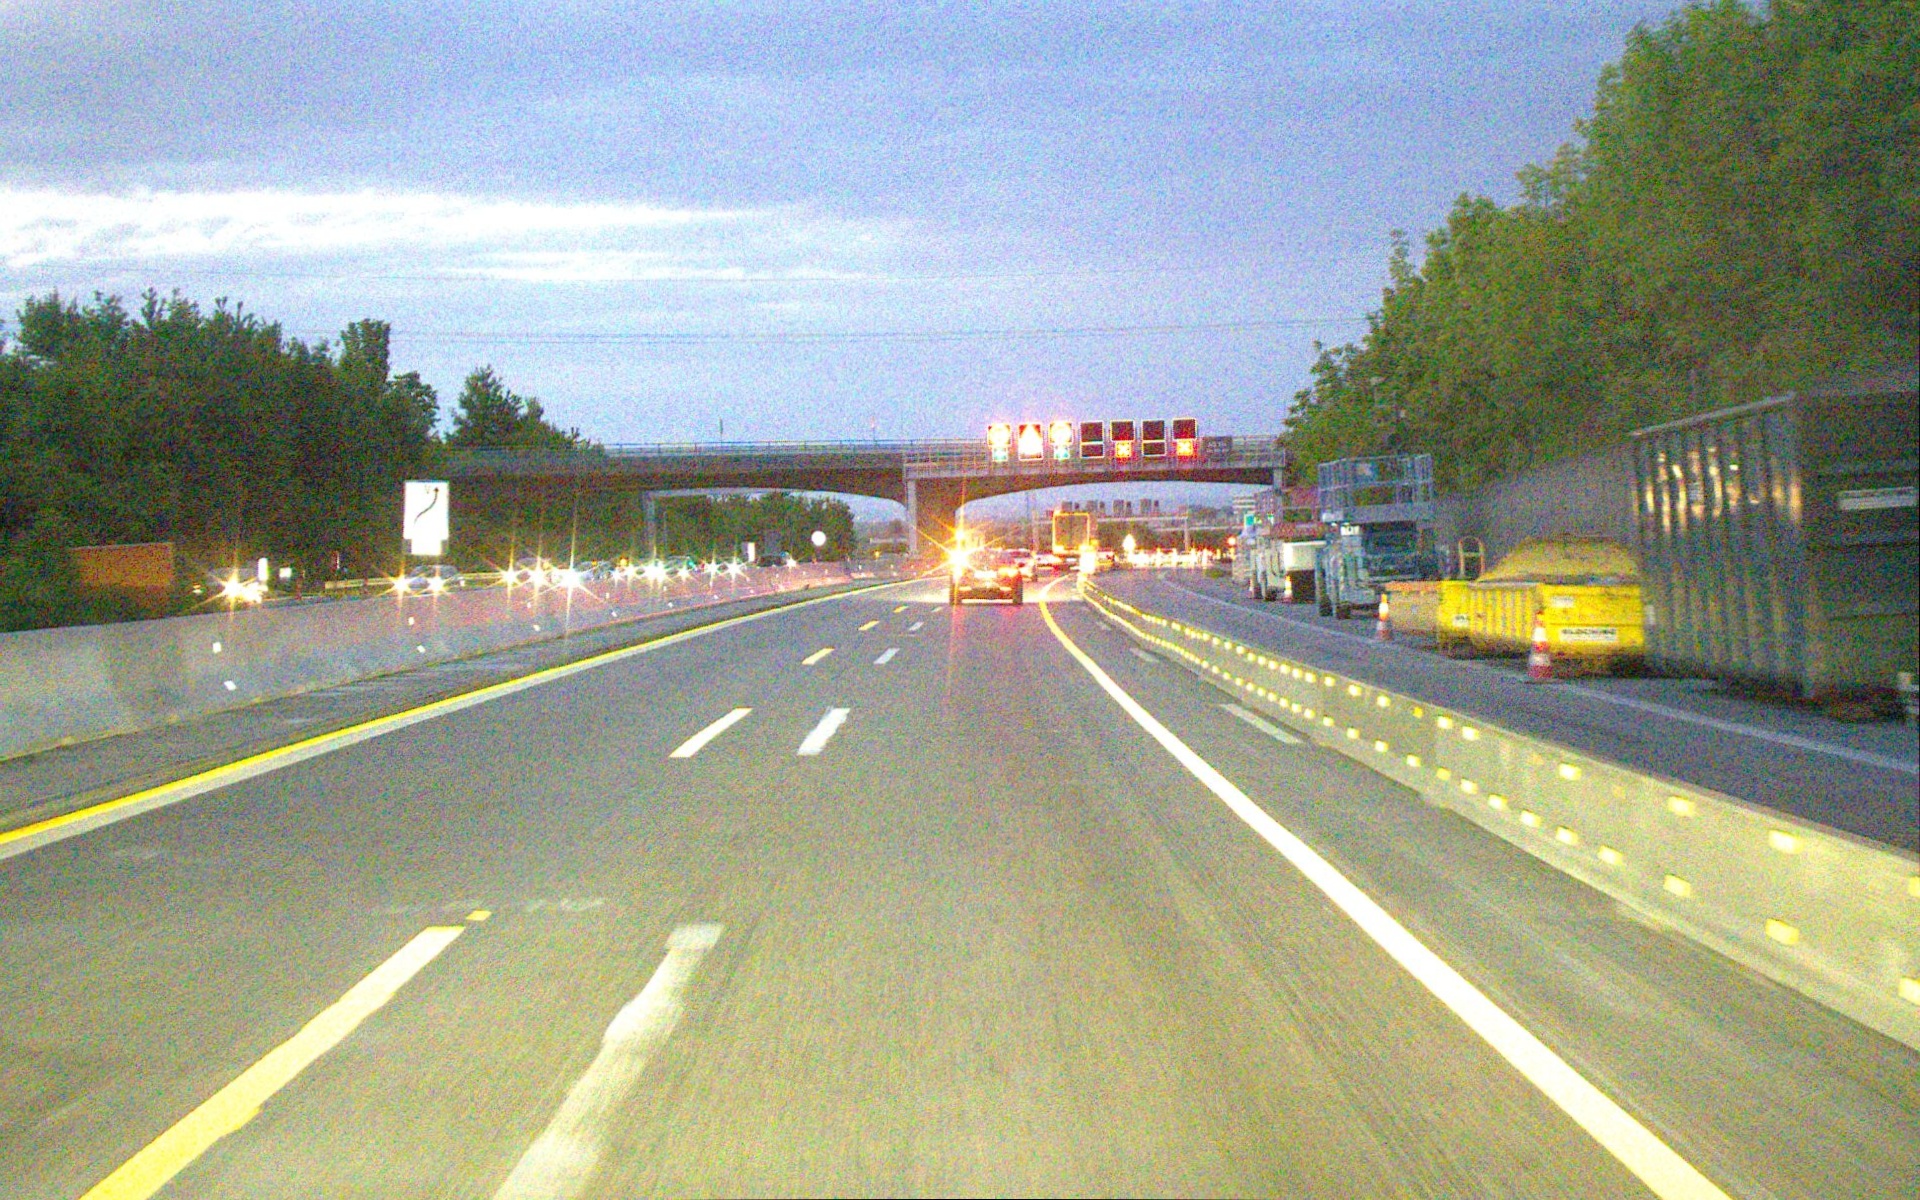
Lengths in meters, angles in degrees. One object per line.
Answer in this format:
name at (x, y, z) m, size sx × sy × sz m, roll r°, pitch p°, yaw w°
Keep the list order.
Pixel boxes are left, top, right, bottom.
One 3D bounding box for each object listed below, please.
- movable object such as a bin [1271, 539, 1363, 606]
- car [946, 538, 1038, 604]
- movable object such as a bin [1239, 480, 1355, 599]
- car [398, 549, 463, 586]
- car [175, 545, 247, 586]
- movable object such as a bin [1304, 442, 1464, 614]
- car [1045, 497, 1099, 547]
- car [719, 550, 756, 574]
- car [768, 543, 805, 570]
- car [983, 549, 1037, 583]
movable object such as a bin at (9.138, -0.695, 88.186) m, size 1.993 × 1.596 × 4.084 m, roll -2°, pitch 0°, yaw 2°
car at (0.828, -0.752, 88.181) m, size 2.265 × 1.616 × 4.000 m, roll 1°, pitch 1°, yaw 1°
movable object such as a bin at (9.084, -1.609, 93.140) m, size 2.621 × 3.097 × 5.806 m, roll -1°, pitch 0°, yaw 1°
car at (-21.835, -1.341, 141.926) m, size 1.673 × 1.465 × 4.646 m, roll 1°, pitch 1°, yaw 3°
car at (-28.017, -1.282, 128.719) m, size 1.577 × 1.465 × 4.226 m, roll 1°, pitch 1°, yaw 3°
movable object such as a bin at (8.584, -1.430, 70.188) m, size 2.564 × 3.307 × 5.579 m, roll -1°, pitch 0°, yaw 1°
car at (7.896, -5.449, 241.214) m, size 3.605 × 3.384 × 8.013 m, roll 1°, pitch 1°, yaw 2°
car at (-14.552, -2.478, 224.940) m, size 1.810 × 1.480 × 4.701 m, roll 1°, pitch 1°, yaw 3°
car at (-11.385, -2.861, 226.219) m, size 1.901 × 1.732 × 4.807 m, roll 1°, pitch 1°, yaw 3°
car at (2.176, -1.481, 149.084) m, size 1.972 × 1.432 × 3.999 m, roll 1°, pitch 1°, yaw 6°
